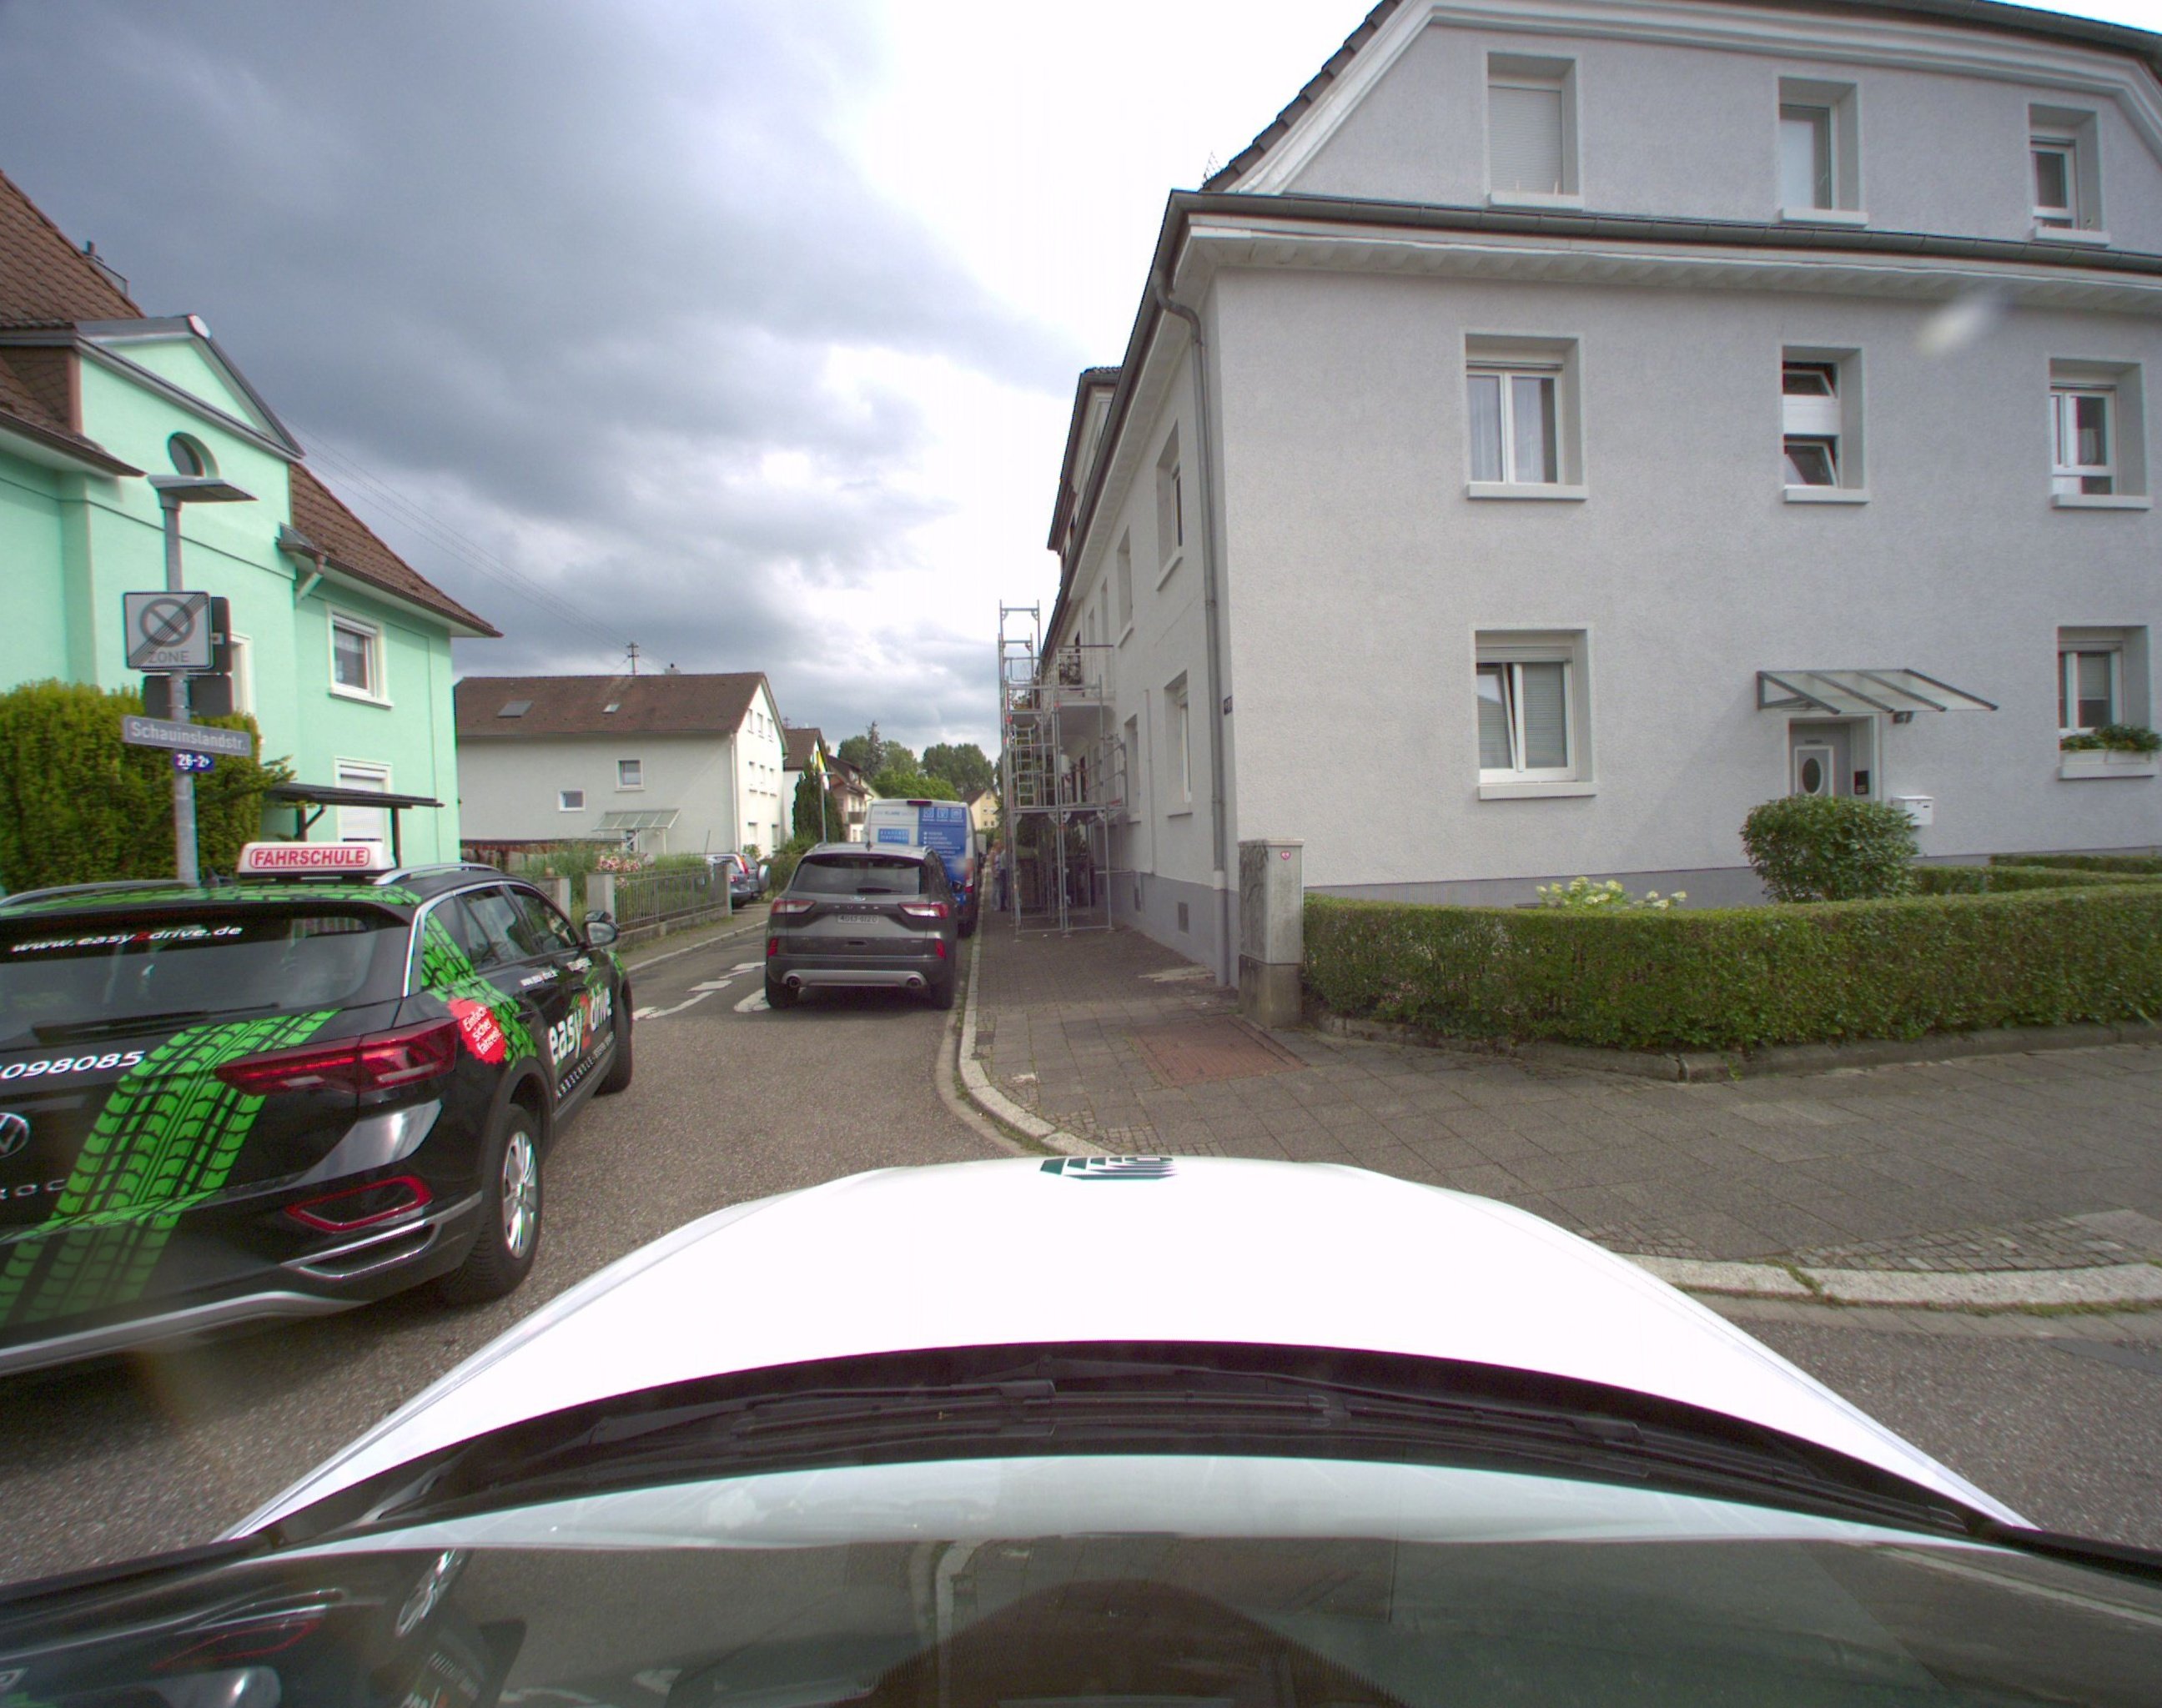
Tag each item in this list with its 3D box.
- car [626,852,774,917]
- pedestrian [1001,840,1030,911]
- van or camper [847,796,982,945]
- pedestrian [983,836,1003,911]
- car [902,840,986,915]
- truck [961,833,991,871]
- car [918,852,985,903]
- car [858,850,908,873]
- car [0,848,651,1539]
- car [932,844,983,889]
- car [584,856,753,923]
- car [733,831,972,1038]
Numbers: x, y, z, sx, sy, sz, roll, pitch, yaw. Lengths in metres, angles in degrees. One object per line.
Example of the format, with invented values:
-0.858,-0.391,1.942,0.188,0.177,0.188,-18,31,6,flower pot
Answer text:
-11.108,0.852,23.974,3.572,1.667,1.582,-3,0,-11,car
-1.560,0.506,19.299,0.600,1.629,0.624,-3,-1,-6,pedestrian
-3.162,0.243,16.543,2.190,2.459,5.042,-3,1,-7,van or camper
-2.120,0.467,19.617,0.407,1.762,0.512,-3,-1,-6,pedestrian
-3.731,0.553,22.412,1.993,1.772,4.328,-3,1,-9,car
-8.118,-0.176,62.571,2.129,2.657,4.571,-3,1,-9,truck
-4.352,0.714,27.423,1.993,1.455,4.328,-3,1,-9,car
-17.001,0.659,69.986,3.988,1.772,1.863,-3,-1,-10,car
-3.233,0.798,3.659,1.823,1.520,4.014,-2,0,-21,car
-5.360,0.487,35.340,1.993,1.749,4.328,-3,1,-9,car
-10.722,0.896,21.387,3.572,1.500,1.582,-3,0,-11,car
-2.347,0.676,9.409,1.993,1.726,4.328,-3,1,-9,car
